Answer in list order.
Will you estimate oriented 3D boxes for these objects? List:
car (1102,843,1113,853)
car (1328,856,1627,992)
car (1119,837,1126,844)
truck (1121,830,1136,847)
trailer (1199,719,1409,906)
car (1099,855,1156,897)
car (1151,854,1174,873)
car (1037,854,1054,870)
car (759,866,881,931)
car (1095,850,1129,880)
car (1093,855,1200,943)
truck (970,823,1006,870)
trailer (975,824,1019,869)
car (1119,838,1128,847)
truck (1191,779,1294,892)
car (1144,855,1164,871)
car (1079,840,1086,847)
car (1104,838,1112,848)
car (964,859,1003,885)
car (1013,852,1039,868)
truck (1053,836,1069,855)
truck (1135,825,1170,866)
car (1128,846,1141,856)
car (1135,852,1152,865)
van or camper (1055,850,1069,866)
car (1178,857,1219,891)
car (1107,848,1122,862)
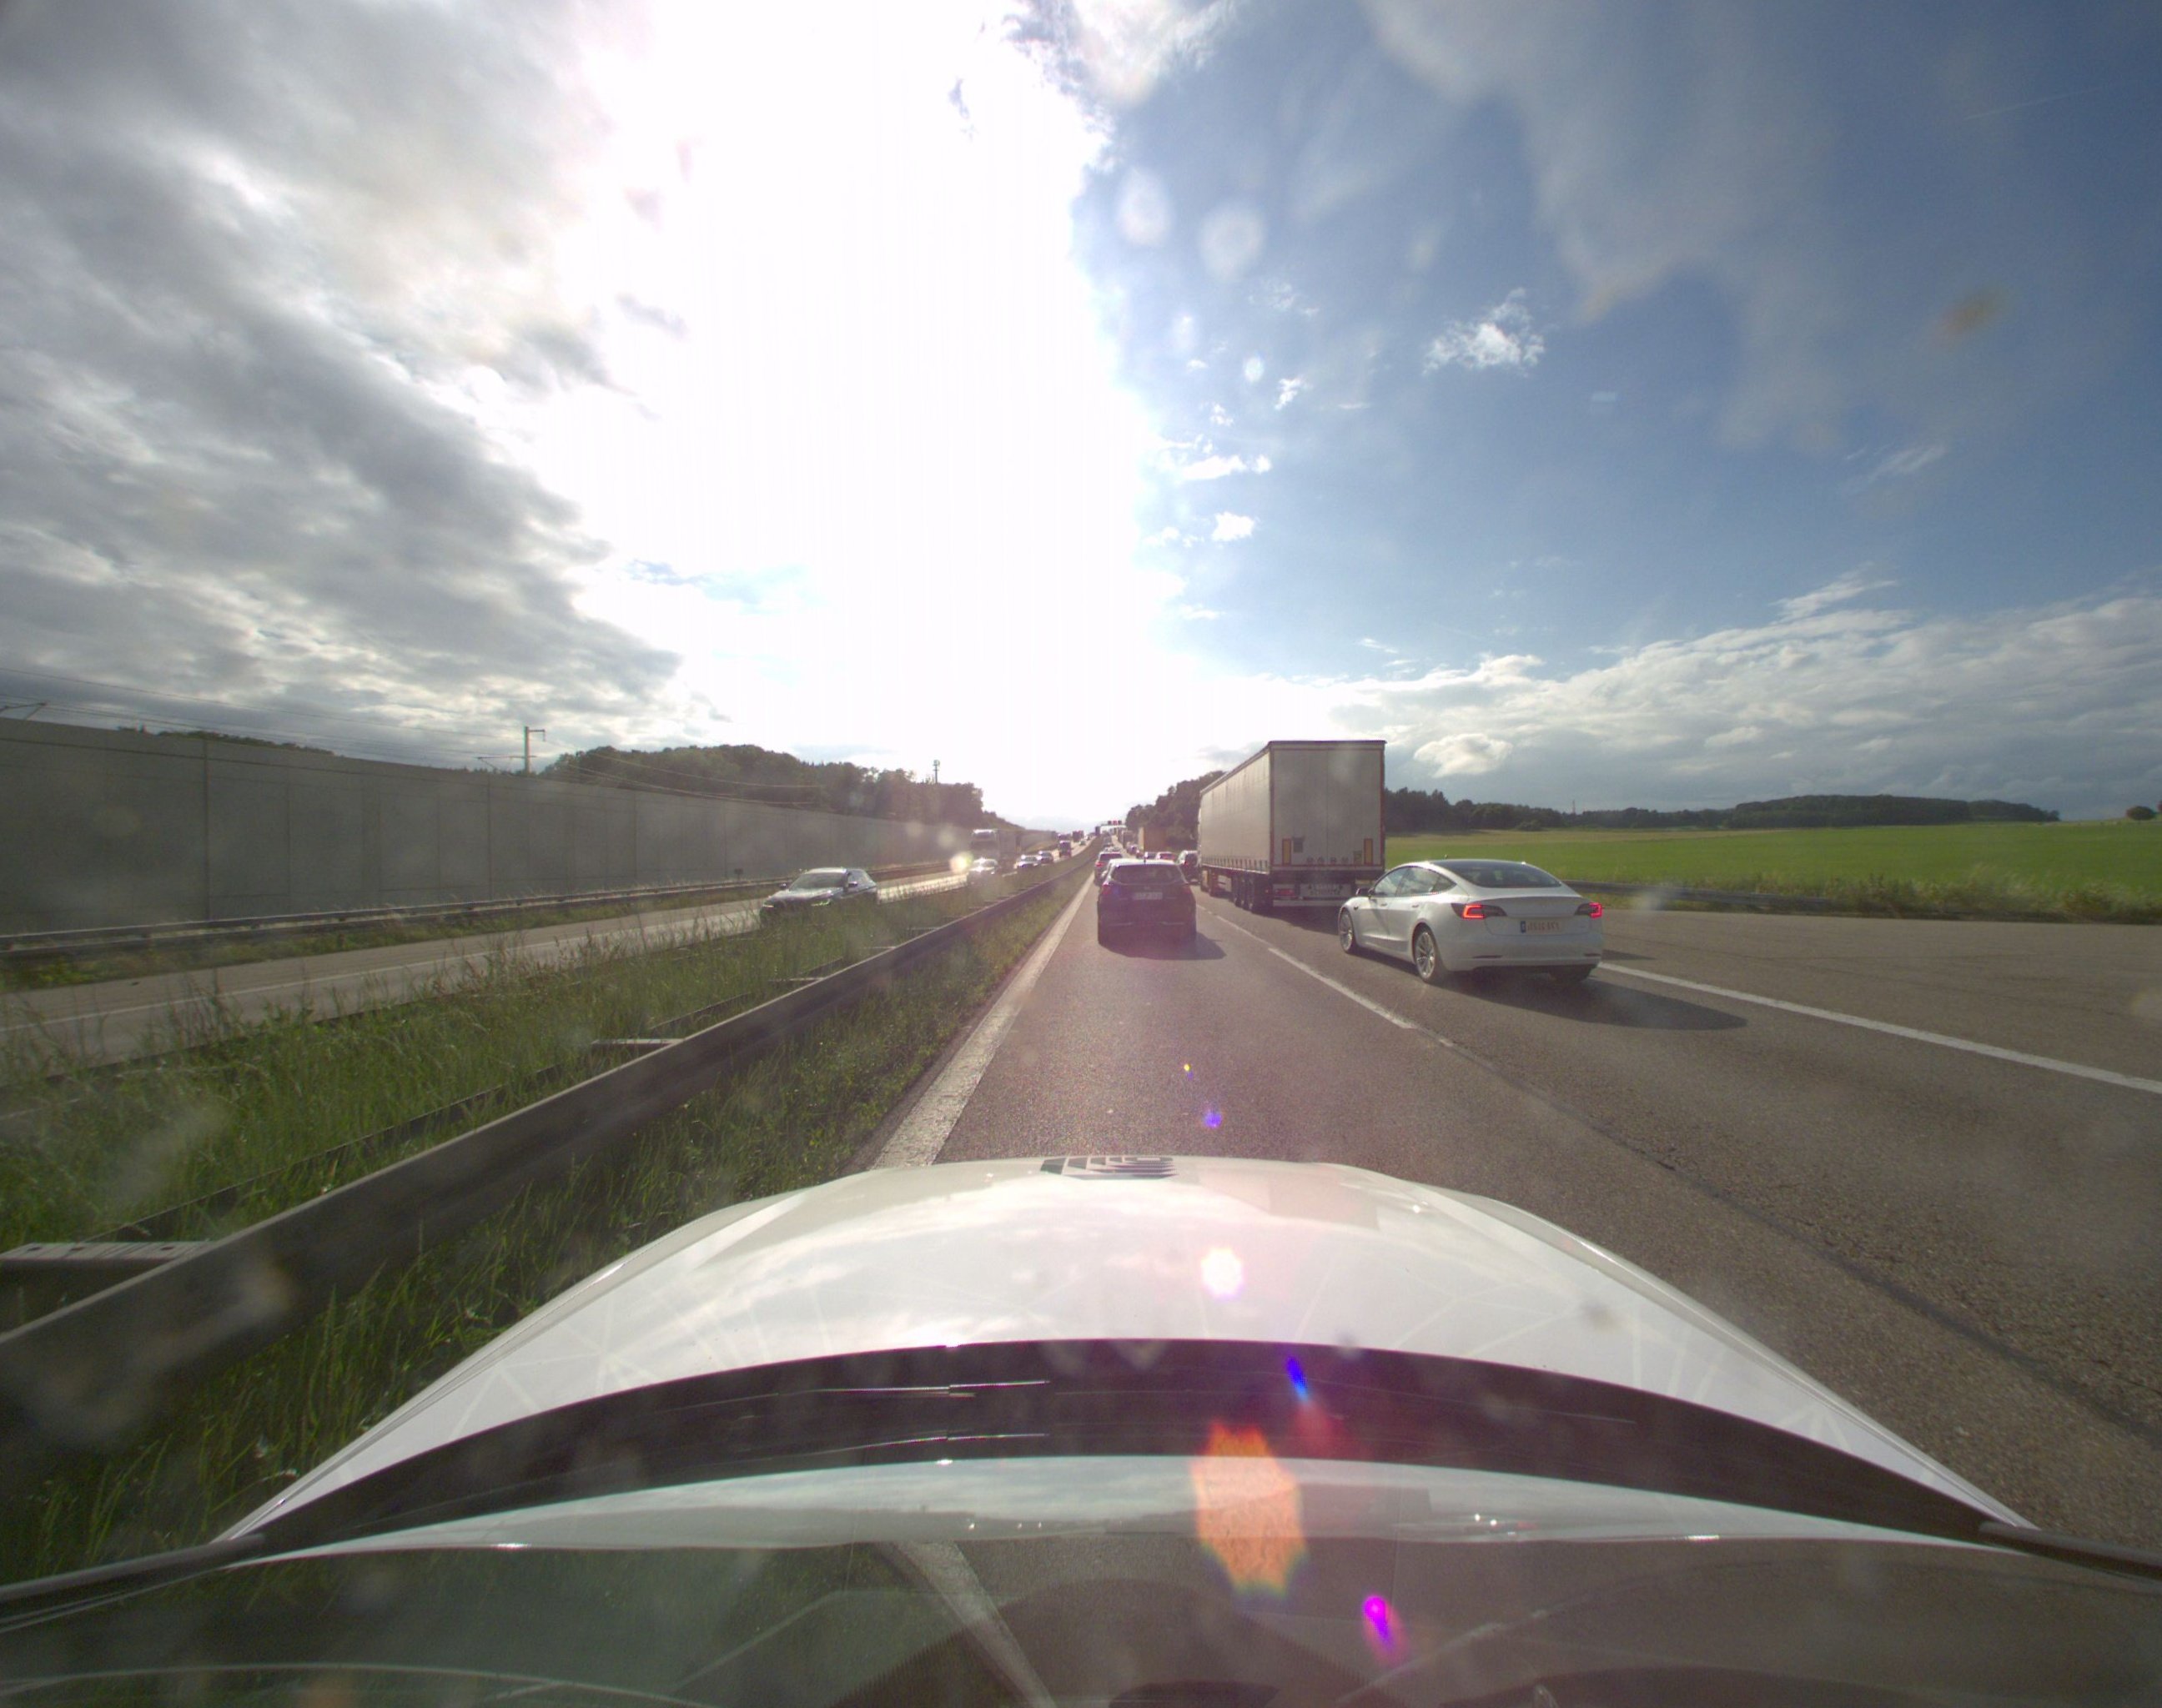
[{"bbox_3d":[4.688,-1.151,144.957,1.867,1.644,4.233,-1,1,1],"label":"car"},{"bbox_3d":[4.830,0.741,10.754,1.783,1.394,4.436,-1,0,0],"label":"car"},{"bbox_3d":[12.859,-4.200,252.486,1.866,2.158,5.214,-1,2,2],"label":"car"},{"bbox_3d":[13.030,-4.244,222.995,3.452,4.577,12.442,0,1,1],"label":"truck"},{"bbox_3d":[5.789,-0.760,24.312,3.118,4.011,13.373,-1,-1,3],"label":"trailer"},{"bbox_3d":[1.630,0.758,29.241,1.866,1.358,4.234,-1,-1,2],"label":"car"},{"bbox_3d":[7.479,0.870,75.012,1.866,1.644,4.234,-1,-1,2],"label":"car"},{"bbox_3d":[-4.165,0.946,95.948,1.702,1.706,4.174,-1,-1,1],"label":"car"},{"bbox_3d":[-6.825,1.103,21.784,1.691,1.499,4.428,-1,-1,1],"label":"car"},{"bbox_3d":[1.826,0.627,47.614,1.866,1.644,4.234,-1,-1,2],"label":"car"},{"bbox_3d":[1.184,0.774,15.876,1.766,1.451,4.234,-1,-1,2],"label":"car"},{"bbox_3d":[-8.640,-0.687,76.498,2.371,4.181,5.934,-2,-1,2],"label":"truck"},{"bbox_3d":[-8.372,-0.636,82.686,2.380,4.182,13.210,-2,-1,2],"label":"trailer"},{"bbox_3d":[10.304,-2.788,197.371,1.866,2.158,5.214,-1,2,2],"label":"car"},{"bbox_3d":[6.113,-0.601,31.668,3.121,4.016,5.166,-1,-1,2],"label":"truck"},{"bbox_3d":[7.588,0.913,85.098,1.866,1.644,4.234,-1,0,2],"label":"car"},{"bbox_3d":[0.471,-3.040,235.004,1.738,1.705,4.232,-5,0,0],"label":"car"},{"bbox_3d":[6.280,-2.542,189.175,1.866,2.158,5.214,-1,2,2],"label":"car"},{"bbox_3d":[-5.919,1.076,49.838,1.762,1.479,3.831,-2,-1,3],"label":"car"},{"bbox_3d":[-4.690,0.516,69.857,1.735,1.358,4.234,-1,-1,2],"label":"car"},{"bbox_3d":[-5.066,-2.100,209.003,3.284,4.577,12.445,-1,0,2],"label":"truck"},{"bbox_3d":[8.427,-0.865,97.917,3.285,4.577,12.440,0,-1,1],"label":"truck"},{"bbox_3d":[9.153,-0.576,140.341,1.868,1.644,4.230,-1,1,-1],"label":"car"},{"bbox_3d":[8.398,0.579,109.382,1.867,1.644,4.232,-1,0,0],"label":"car"},{"bbox_3d":[-3.263,0.713,139.992,2.082,2.820,5.897,0,-1,2],"label":"van or camper"},{"bbox_3d":[5.966,0.979,41.814,1.690,1.611,4.440,-1,-1,3],"label":"car"},{"bbox_3d":[4.309,0.128,105.434,1.866,1.644,4.235,-1,1,2],"label":"car"}]
